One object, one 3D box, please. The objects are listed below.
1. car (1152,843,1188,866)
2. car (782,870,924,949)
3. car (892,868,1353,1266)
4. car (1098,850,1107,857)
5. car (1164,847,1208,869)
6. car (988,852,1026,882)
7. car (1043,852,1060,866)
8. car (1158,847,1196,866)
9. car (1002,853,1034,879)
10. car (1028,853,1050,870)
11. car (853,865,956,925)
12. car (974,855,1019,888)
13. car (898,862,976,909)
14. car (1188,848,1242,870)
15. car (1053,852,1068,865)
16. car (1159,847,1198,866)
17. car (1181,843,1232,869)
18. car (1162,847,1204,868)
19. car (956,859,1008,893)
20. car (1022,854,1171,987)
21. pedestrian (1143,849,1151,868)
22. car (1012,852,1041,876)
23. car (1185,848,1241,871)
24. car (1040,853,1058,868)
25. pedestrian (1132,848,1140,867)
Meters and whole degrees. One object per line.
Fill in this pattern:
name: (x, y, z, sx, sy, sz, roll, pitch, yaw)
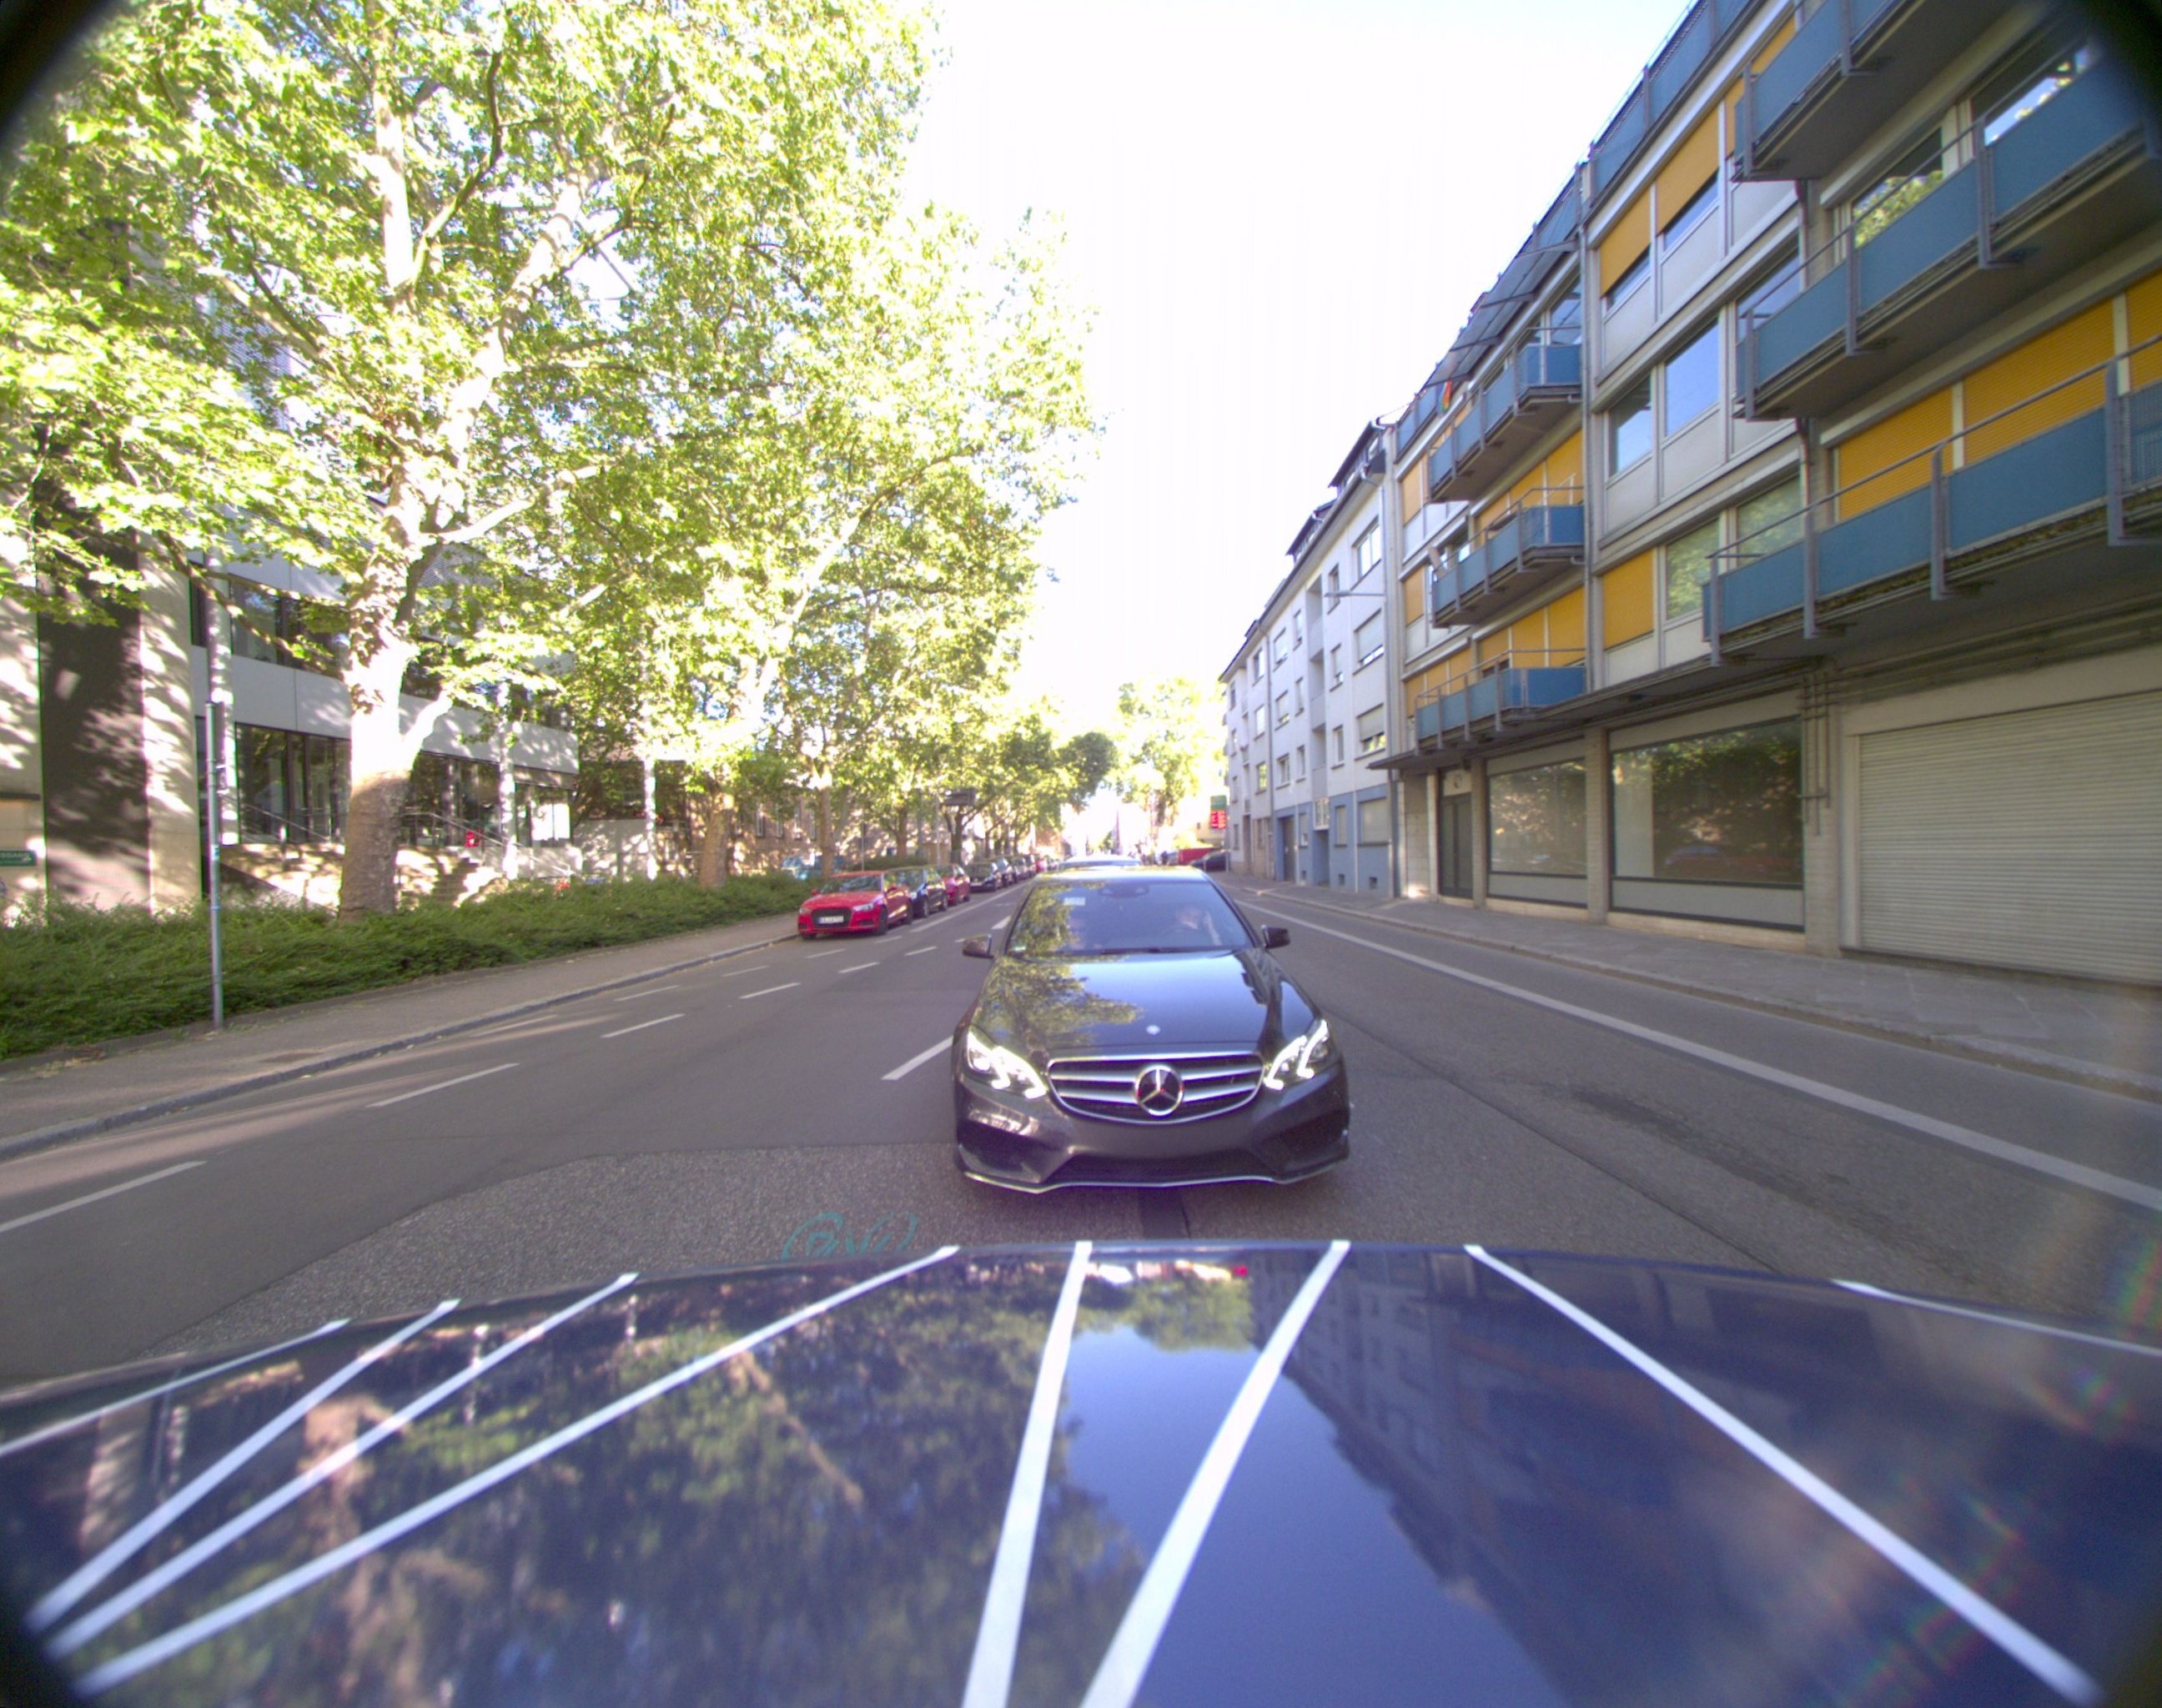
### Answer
car: (10.487, 0.005, 89.495, 3.996, 2.505, 2.000, -2, 1, 2)
car: (-5.104, 1.178, 17.719, 1.866, 1.442, 4.481, -2, 0, 1)
car: (0.205, 0.933, 5.395, 1.866, 1.492, 4.481, -2, 0, 1)
car: (5.096, -0.186, 179.093, 1.866, 1.632, 4.481, -2, 0, 1)
car: (10.246, 0.378, 74.493, 3.996, 1.936, 2.000, -2, 1, 2)
car: (-4.634, 0.785, 48.121, 1.866, 1.749, 4.481, -2, 0, 1)
car: (-3.678, 0.624, 96.762, 1.866, 1.632, 4.481, -2, 0, 1)
car: (10.733, 0.243, 84.968, 3.996, 1.936, 2.000, -2, 1, 2)
car: (-4.504, 0.819, 54.788, 1.866, 1.749, 4.481, -2, 0, 1)
car: (-4.201, 0.706, 76.266, 1.866, 1.632, 4.481, -2, 0, 1)
car: (-5.044, 1.124, 22.369, 1.866, 1.442, 4.481, -2, 0, 1)
car: (-4.622, 0.908, 42.195, 1.866, 1.658, 4.481, -2, 0, 1)
car: (-5.088, 1.066, 27.413, 1.866, 1.442, 4.481, -2, 0, 1)
car: (10.714, 0.377, 61.181, 3.996, 1.543, 2.000, -2, 1, 2)
car: (-2.844, 0.573, 105.170, 1.866, 1.632, 4.481, -2, 0, 1)
car: (10.588, 0.276, 82.474, 3.996, 1.936, 2.000, -2, 1, 2)
car: (10.546, 0.155, 64.012, 3.996, 1.936, 2.000, -2, 1, 2)
car: (10.330, 0.346, 77.135, 3.996, 1.936, 2.000, -2, 1, 2)
car: (-4.757, 1.025, 37.160, 1.866, 1.442, 4.481, -2, 0, 1)
car: (0.224, 0.858, 11.918, 1.866, 1.630, 4.303, -2, 0, 1)
pedestrian: (7.100, 0.514, 81.662, 0.734, 2.002, 1.046, -2, 1, 5)
car: (-4.247, 0.757, 59.743, 1.866, 1.749, 4.481, -2, 0, 1)
car: (10.173, 0.424, 58.859, 3.996, 1.543, 2.000, -2, 1, 2)
car: (-3.787, 0.733, 89.964, 1.866, 1.632, 4.481, -2, 0, 1)
pedestrian: (5.969, 0.390, 81.941, 0.735, 2.002, 0.797, -2, 1, 1)
